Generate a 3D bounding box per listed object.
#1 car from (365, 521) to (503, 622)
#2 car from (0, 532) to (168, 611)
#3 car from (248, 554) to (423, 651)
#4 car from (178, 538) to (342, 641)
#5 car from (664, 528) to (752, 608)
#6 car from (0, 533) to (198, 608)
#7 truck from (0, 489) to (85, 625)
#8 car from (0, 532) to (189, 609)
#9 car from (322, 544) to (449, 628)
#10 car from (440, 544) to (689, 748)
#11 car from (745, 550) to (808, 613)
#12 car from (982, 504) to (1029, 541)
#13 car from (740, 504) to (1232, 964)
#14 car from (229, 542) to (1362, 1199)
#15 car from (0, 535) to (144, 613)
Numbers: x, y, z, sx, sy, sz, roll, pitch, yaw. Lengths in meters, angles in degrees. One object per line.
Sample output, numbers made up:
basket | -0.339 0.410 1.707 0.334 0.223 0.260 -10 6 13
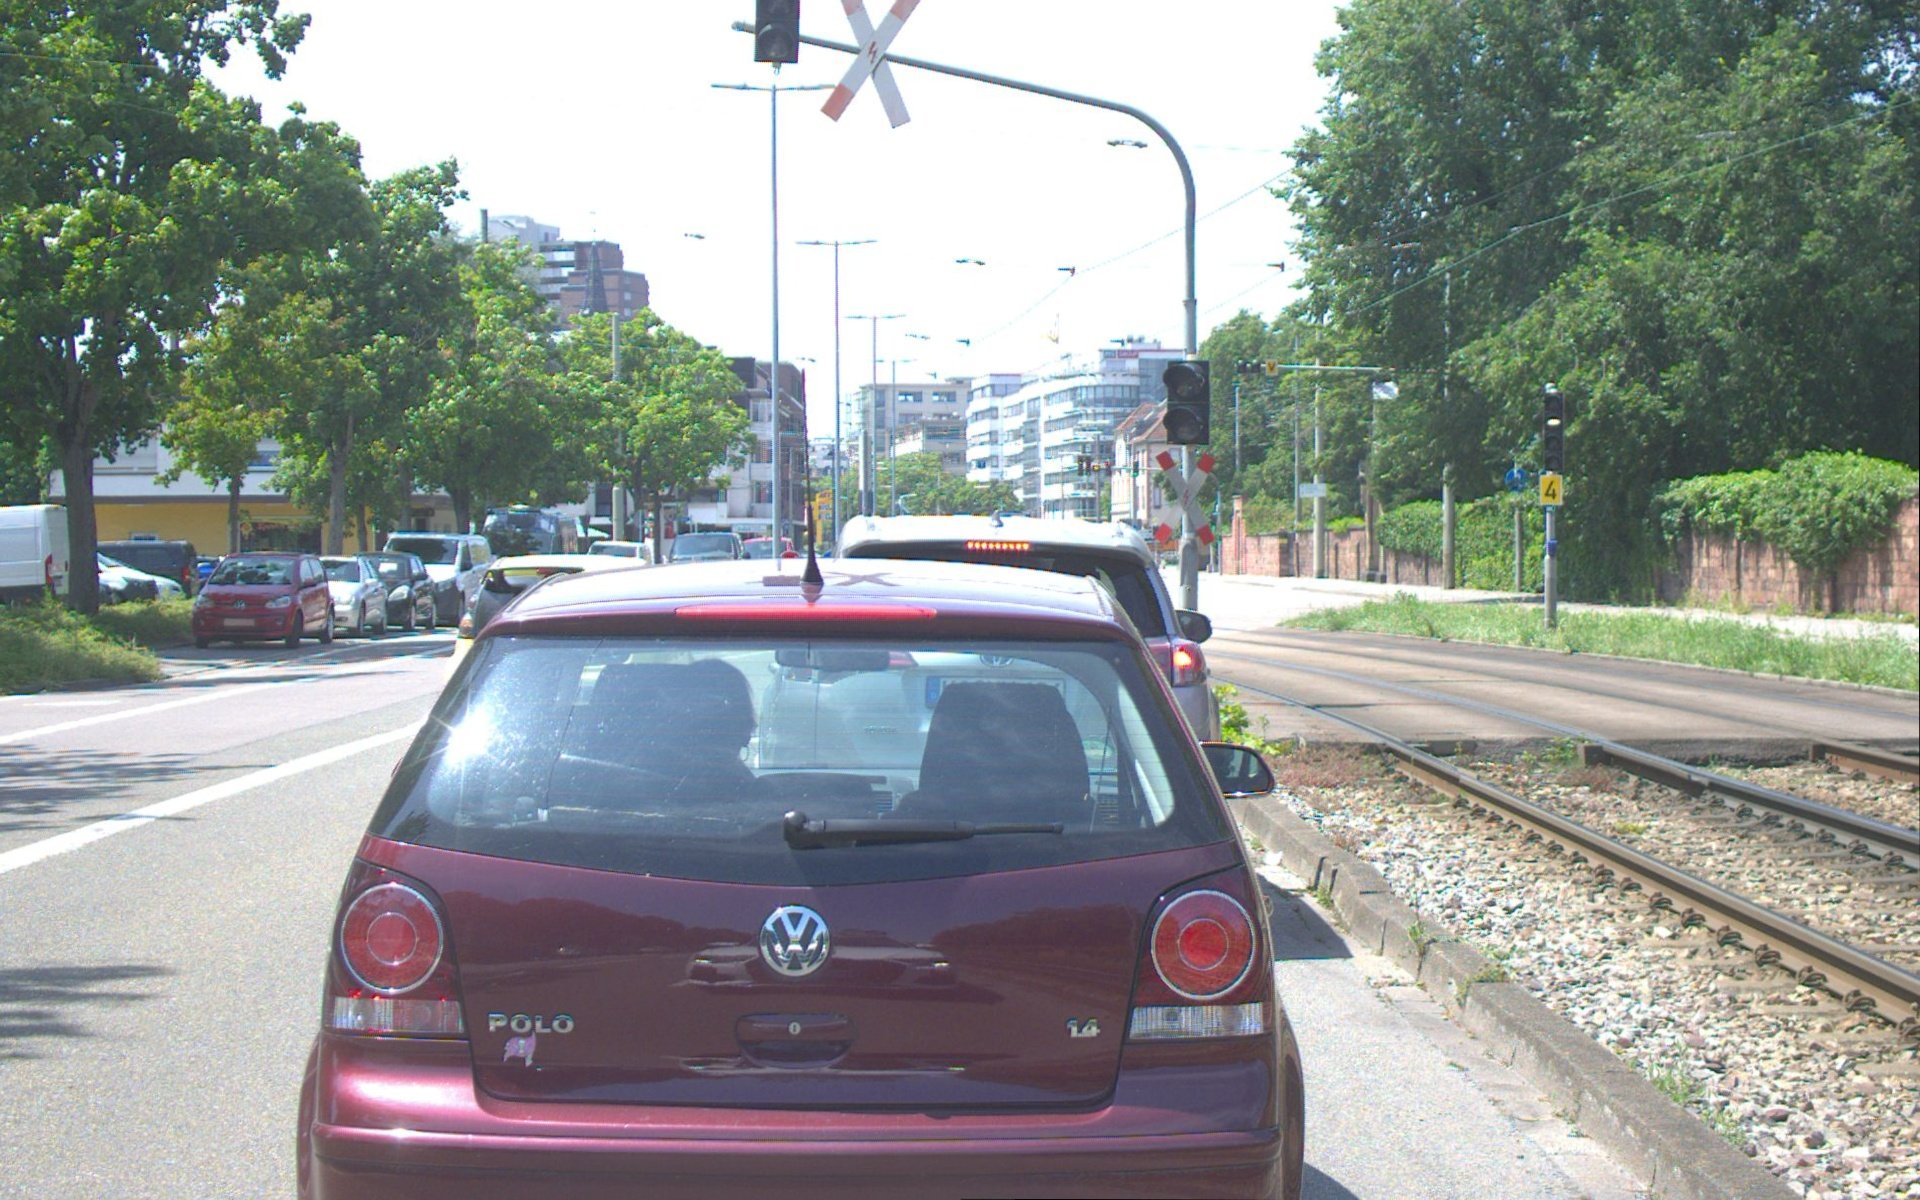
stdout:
car | -10.849 -0.612 71.236 1.863 1.930 4.805 3 1 2
car | -21.444 -0.682 81.885 4.718 1.807 1.797 -1 1 -1
car | -11.017 0.012 60.985 1.719 1.422 4.770 -6 1 5
car | -10.948 -0.182 53.972 1.672 1.541 3.726 1 1 2
car | -6.361 -0.834 87.157 1.918 1.904 4.571 -2 1 -1
car | -21.669 -0.739 86.261 4.718 1.807 1.797 -1 1 -1
truck | -21.160 -0.864 70.877 5.578 2.750 2.432 -1 1 1
car | -21.431 -0.730 84.080 4.718 1.807 1.797 -1 1 -1
car | -10.974 -0.284 65.880 1.614 1.479 3.784 3 1 2
car | -2.984 0.305 26.477 1.551 1.443 3.412 1 1 -1
car | -5.930 -0.634 111.742 1.898 1.919 4.820 -2 1 -2
car | 2.323 -3.980 177.047 1.918 1.904 4.572 -1 1 -5
car | 0.073 0.459 14.718 1.795 1.677 4.000 1 1 -1
car | -0.262 0.644 6.922 1.609 1.493 4.000 1 1 -1
car | -21.218 -0.607 79.544 4.209 1.759 1.857 -1 1 -1
